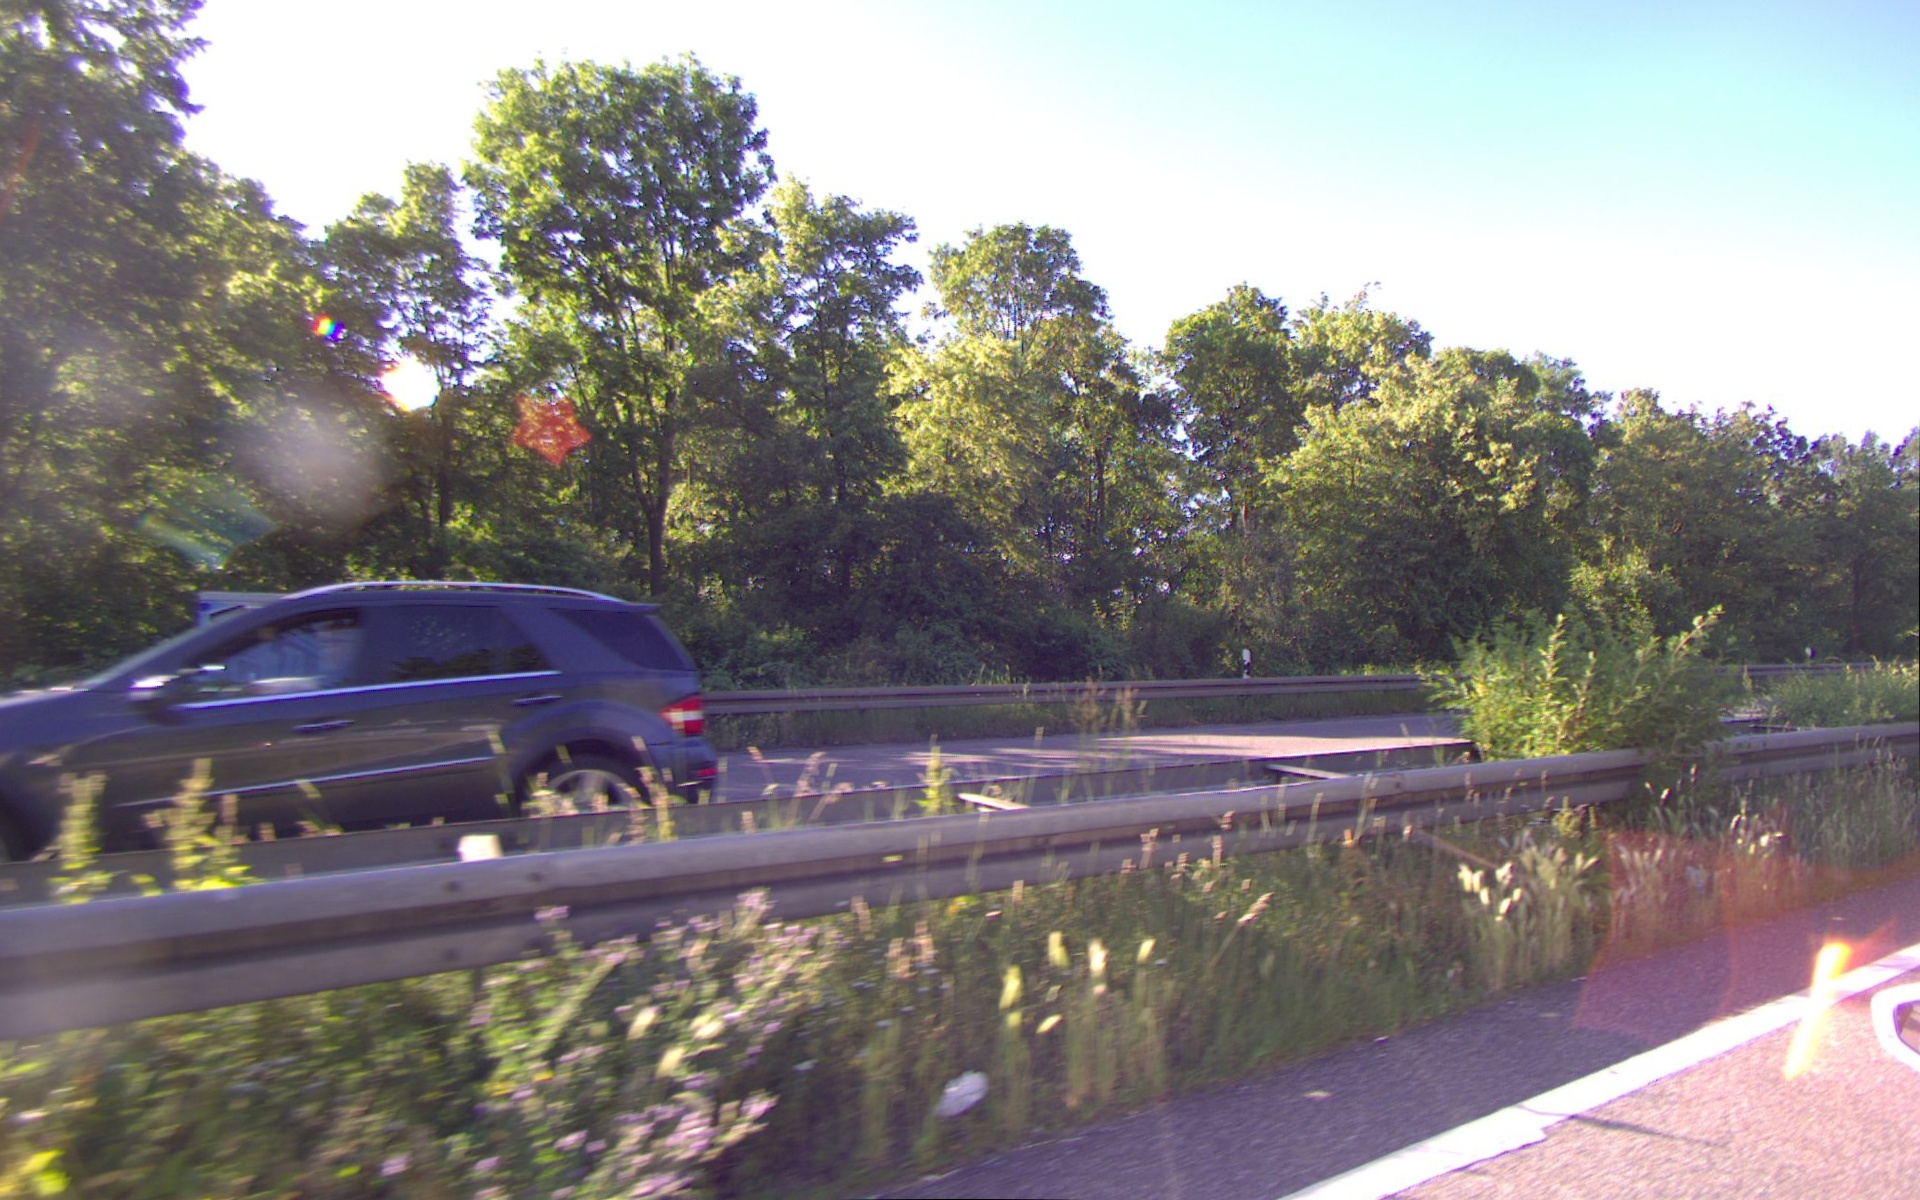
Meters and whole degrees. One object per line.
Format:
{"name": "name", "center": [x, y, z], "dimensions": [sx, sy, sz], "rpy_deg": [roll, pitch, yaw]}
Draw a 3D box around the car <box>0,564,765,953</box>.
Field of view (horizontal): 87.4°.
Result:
{"name": "car", "center": [-3.717, 0.774, 6.087], "dimensions": [4.657, 1.780, 1.833], "rpy_deg": [1, -2, -30]}
